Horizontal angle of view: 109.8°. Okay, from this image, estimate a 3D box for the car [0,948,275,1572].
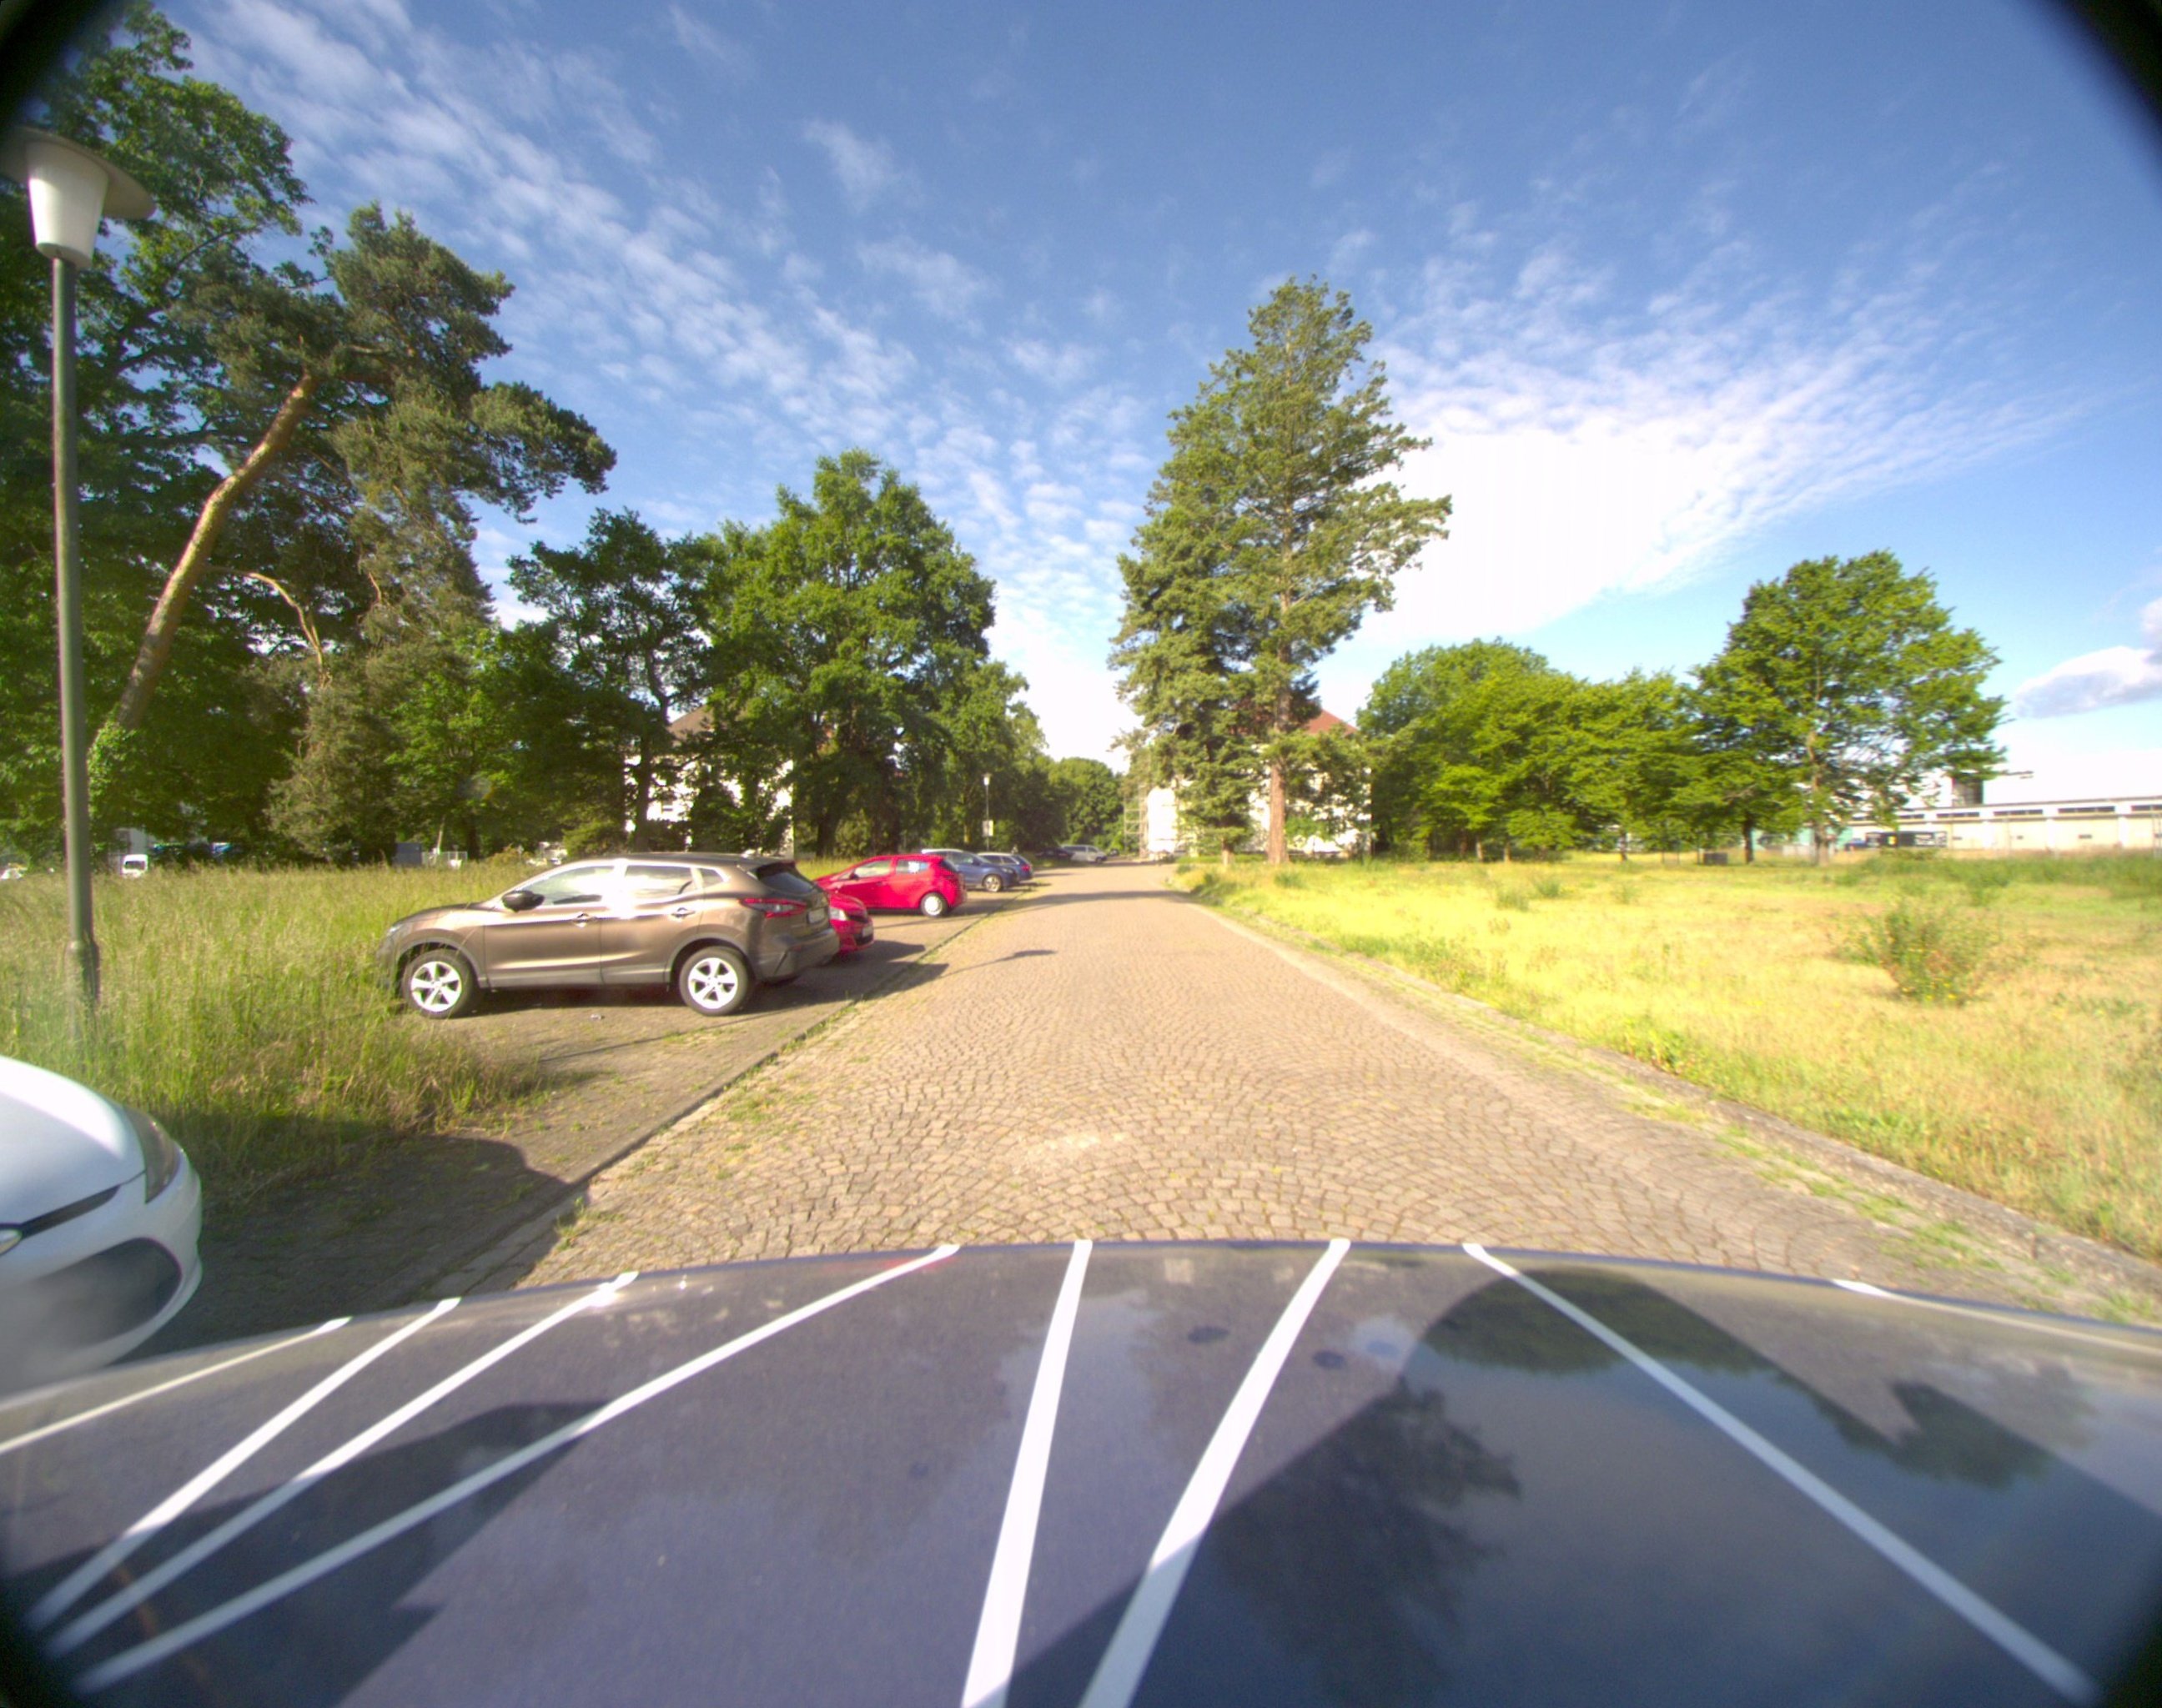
[{"bbox_3d":[-4.536,1.037,1.676,3.730,1.458,1.609,1,1,-1],"label":"car"}]

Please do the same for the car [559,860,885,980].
[{"bbox_3d":[-4.945,0.877,10.838,3.834,1.530,1.703,0,1,1],"label":"car"}]

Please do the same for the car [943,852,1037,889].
[{"bbox_3d":[-3.945,0.703,33.303,3.809,1.458,1.747,-1,1,2],"label":"car"}]

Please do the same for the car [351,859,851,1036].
[{"bbox_3d":[-4.772,0.885,8.042,4.117,1.602,1.786,0,1,-1],"label":"car"}]

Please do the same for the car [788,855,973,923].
[{"bbox_3d":[-4.745,0.815,18.328,3.997,1.487,1.540,-1,1,0],"label":"car"}]

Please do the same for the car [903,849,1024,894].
[{"bbox_3d":[-4.374,0.640,28.580,4.273,1.589,1.651,0,1,0],"label":"car"}]

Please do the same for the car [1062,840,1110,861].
[{"bbox_3d":[0.523,-0.407,82.121,4.993,2.123,2.164,-1,1,-1],"label":"car"}]
